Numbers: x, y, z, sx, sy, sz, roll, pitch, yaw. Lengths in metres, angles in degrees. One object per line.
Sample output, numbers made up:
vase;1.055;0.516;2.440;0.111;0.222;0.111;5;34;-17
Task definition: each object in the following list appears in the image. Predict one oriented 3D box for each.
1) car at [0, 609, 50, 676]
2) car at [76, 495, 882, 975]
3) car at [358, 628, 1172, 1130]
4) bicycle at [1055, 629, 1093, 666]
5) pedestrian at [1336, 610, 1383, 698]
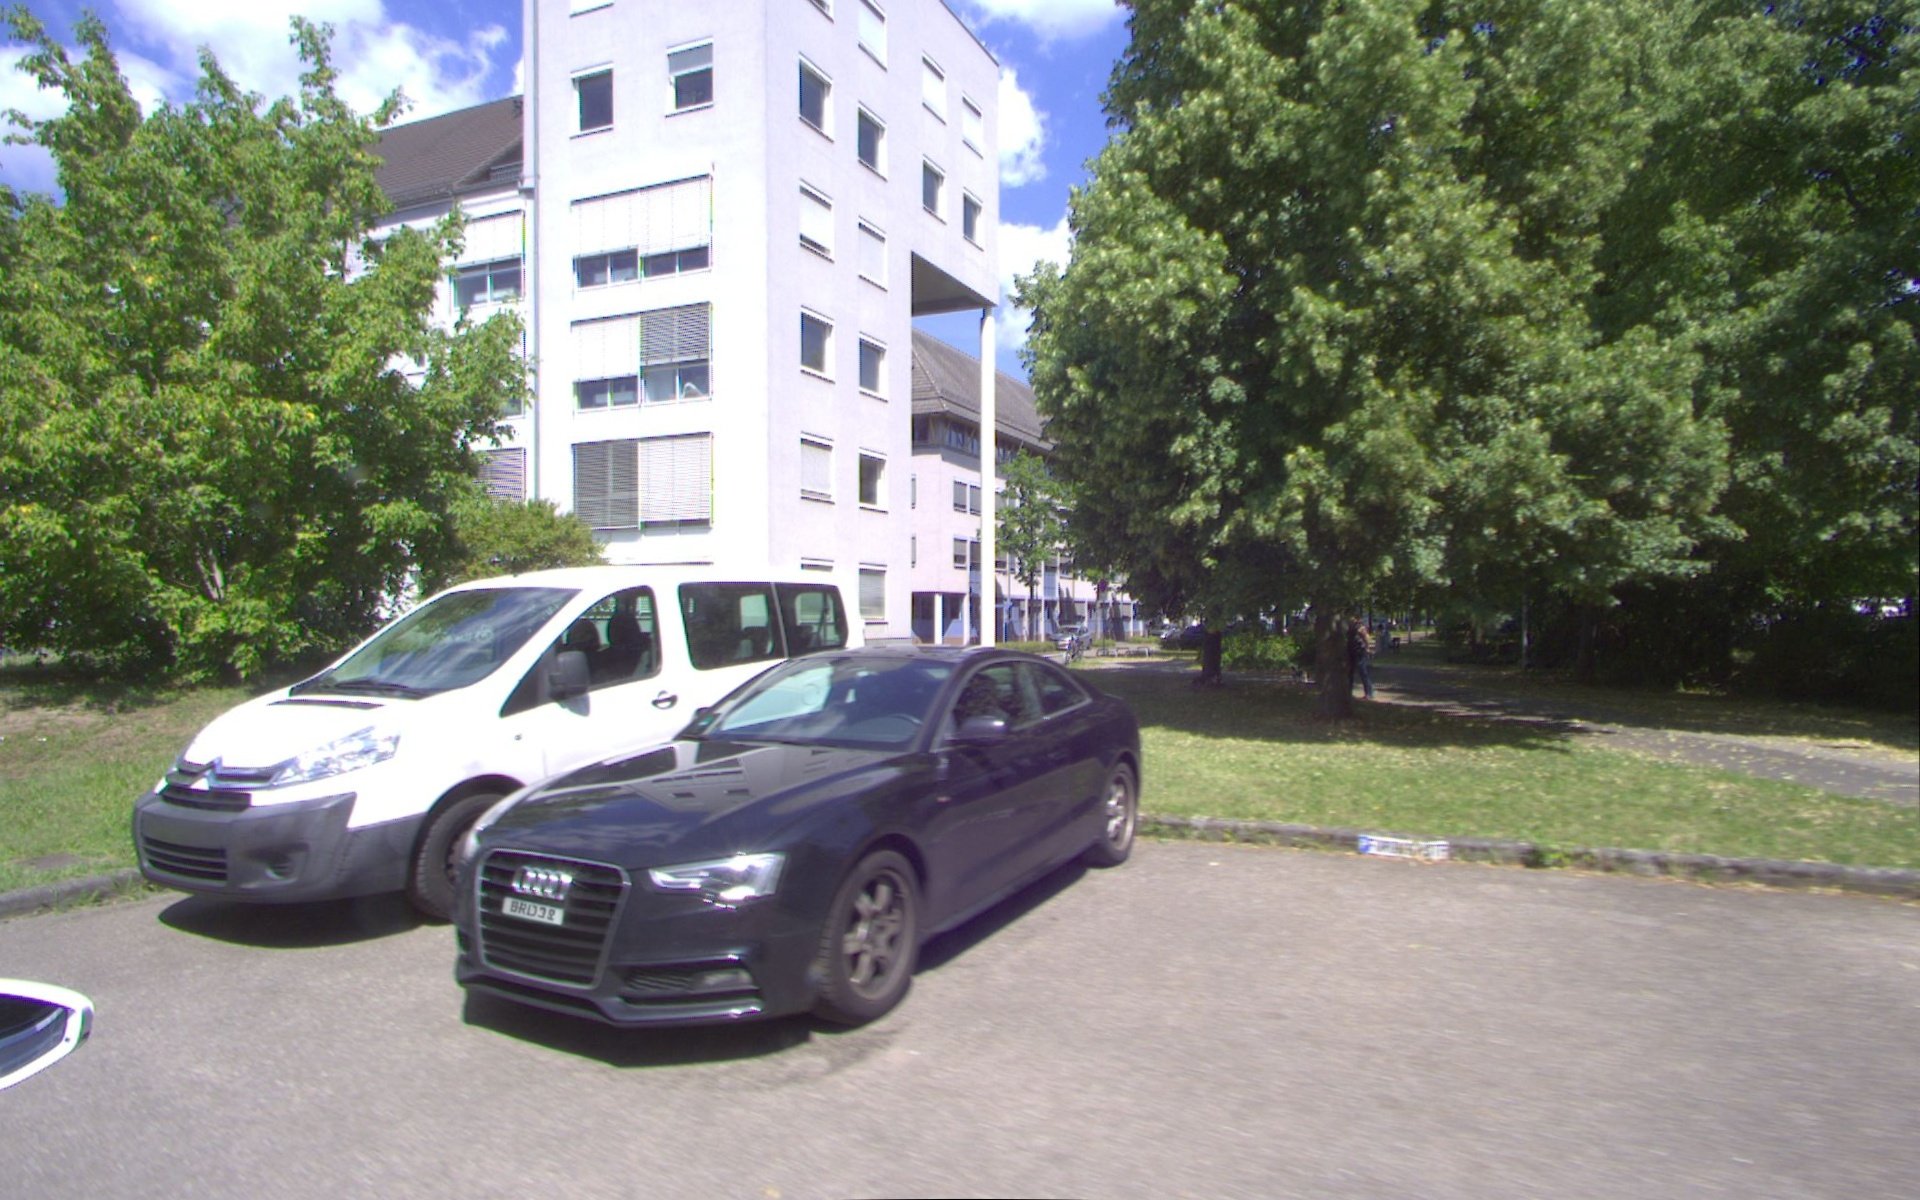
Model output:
car;-22.574;0.938;21.606;1.775;1.498;3.986;0;0;26
car;-2.621;0.622;6.836;1.969;2.040;4.757;0;-1;27
car;-0.389;0.871;5.355;1.805;1.370;4.609;0;-1;28
bicycle;3.585;1.474;31.421;0.592;1.099;1.933;0;0;26
pedestrian;7.362;0.982;18.475;0.728;1.585;0.749;0;0;17
